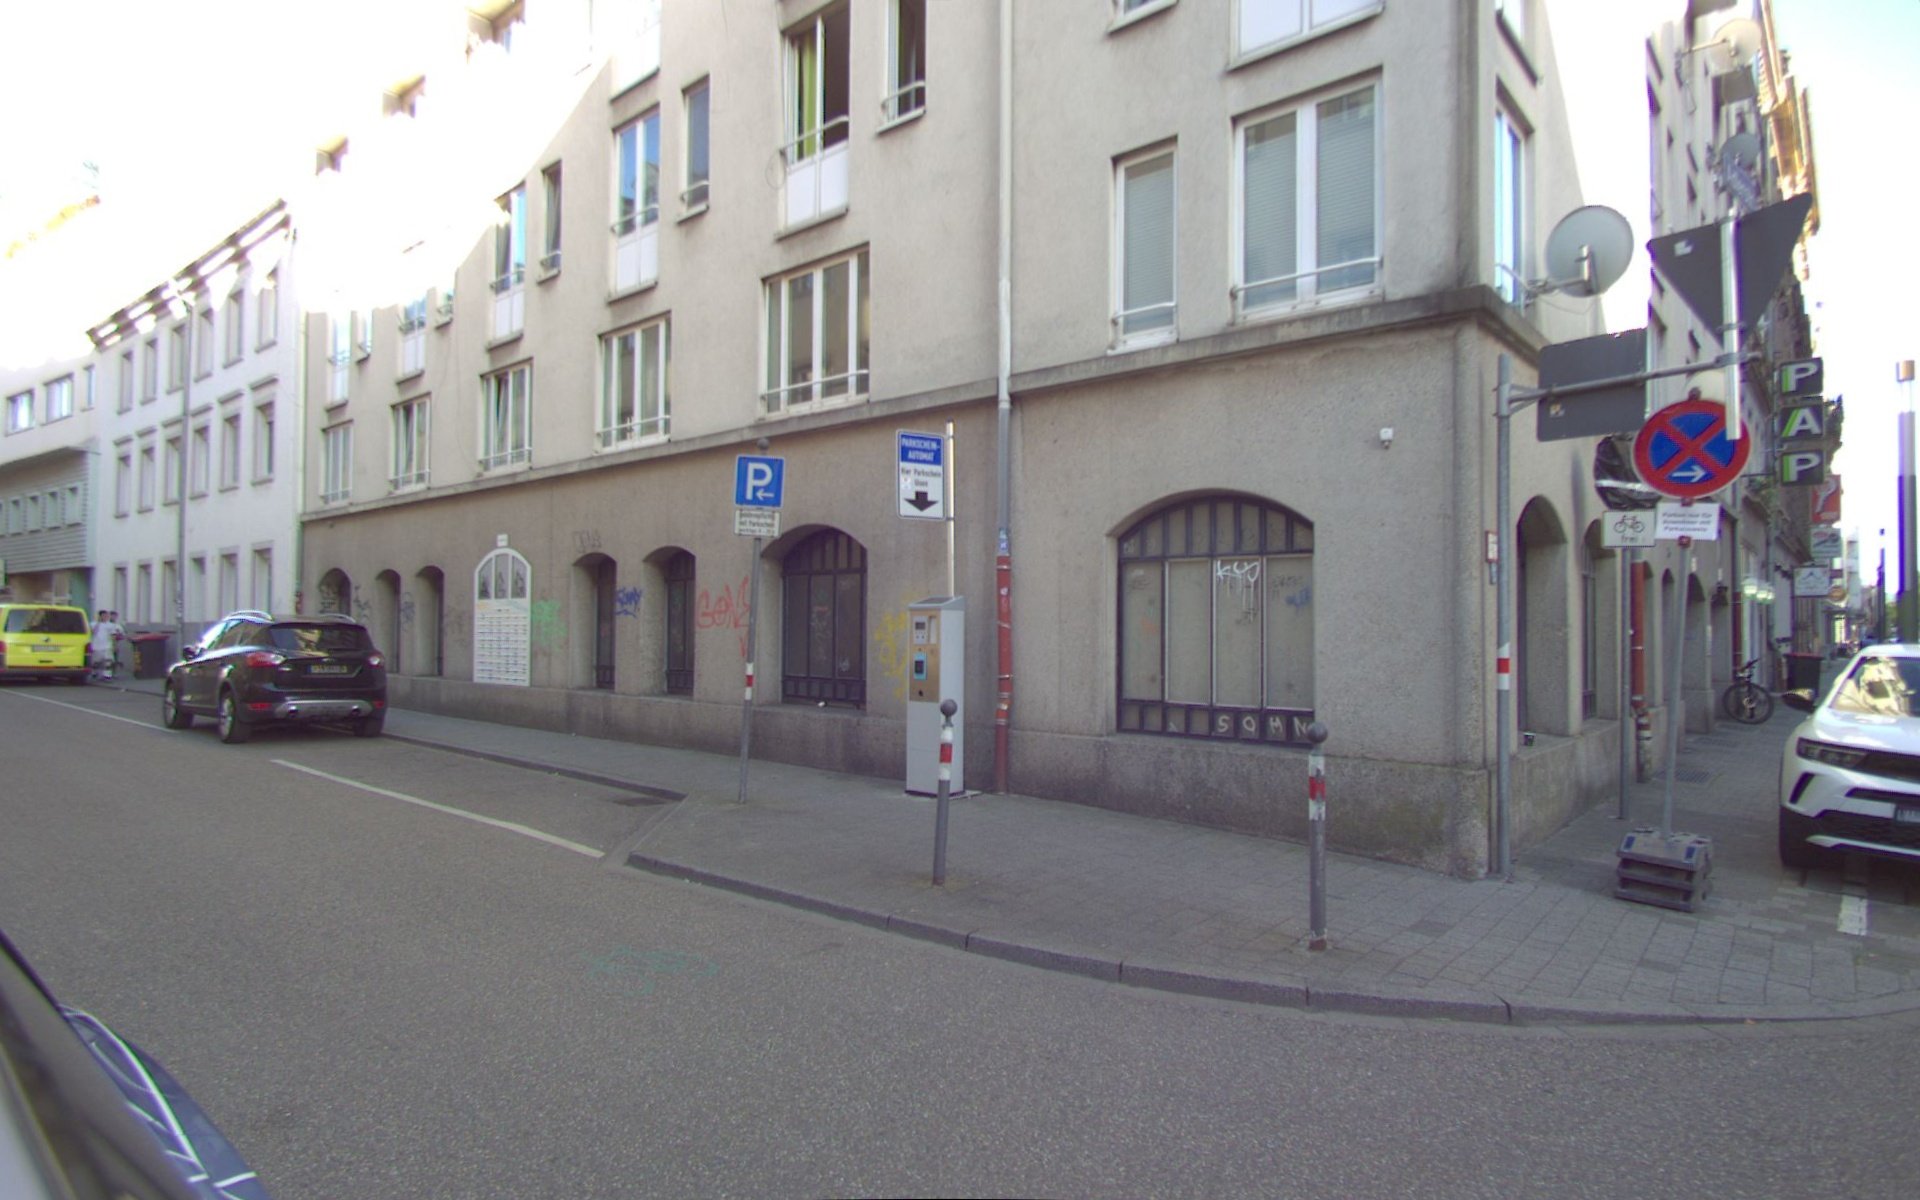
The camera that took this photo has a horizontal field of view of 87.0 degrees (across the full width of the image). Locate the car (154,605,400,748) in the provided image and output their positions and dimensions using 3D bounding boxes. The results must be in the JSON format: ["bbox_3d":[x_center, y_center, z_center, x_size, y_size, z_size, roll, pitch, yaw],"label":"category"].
[{"bbox_3d":[-9.691,1.011,14.243,4.187,1.724,1.722,-1,-5,40],"label":"car"}]

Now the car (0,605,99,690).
[{"bbox_3d":[-22.924,1.146,24.621,4.854,1.881,1.863,-1,-4,36],"label":"car"}]

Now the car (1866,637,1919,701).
[{"bbox_3d":[23.272,1.636,24.549,3.529,1.453,1.683,2,-3,-45],"label":"car"}]

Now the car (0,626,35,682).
[{"bbox_3d":[-27.357,1.446,27.888,4.066,1.497,1.803,-1,-4,34],"label":"car"}]

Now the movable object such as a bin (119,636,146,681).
[{"bbox_3d":[-20.560,1.451,25.153,0.432,1.113,0.406,-1,-3,38],"label":"movable object such as a bin"}]

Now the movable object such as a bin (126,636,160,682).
[{"bbox_3d":[-19.990,1.430,24.766,0.432,1.113,0.535,-1,-3,38],"label":"movable object such as a bin"}]

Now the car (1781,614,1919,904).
[{"bbox_3d":[7.186,0.964,6.970,3.938,1.668,1.765,2,-3,-42],"label":"car"}]
